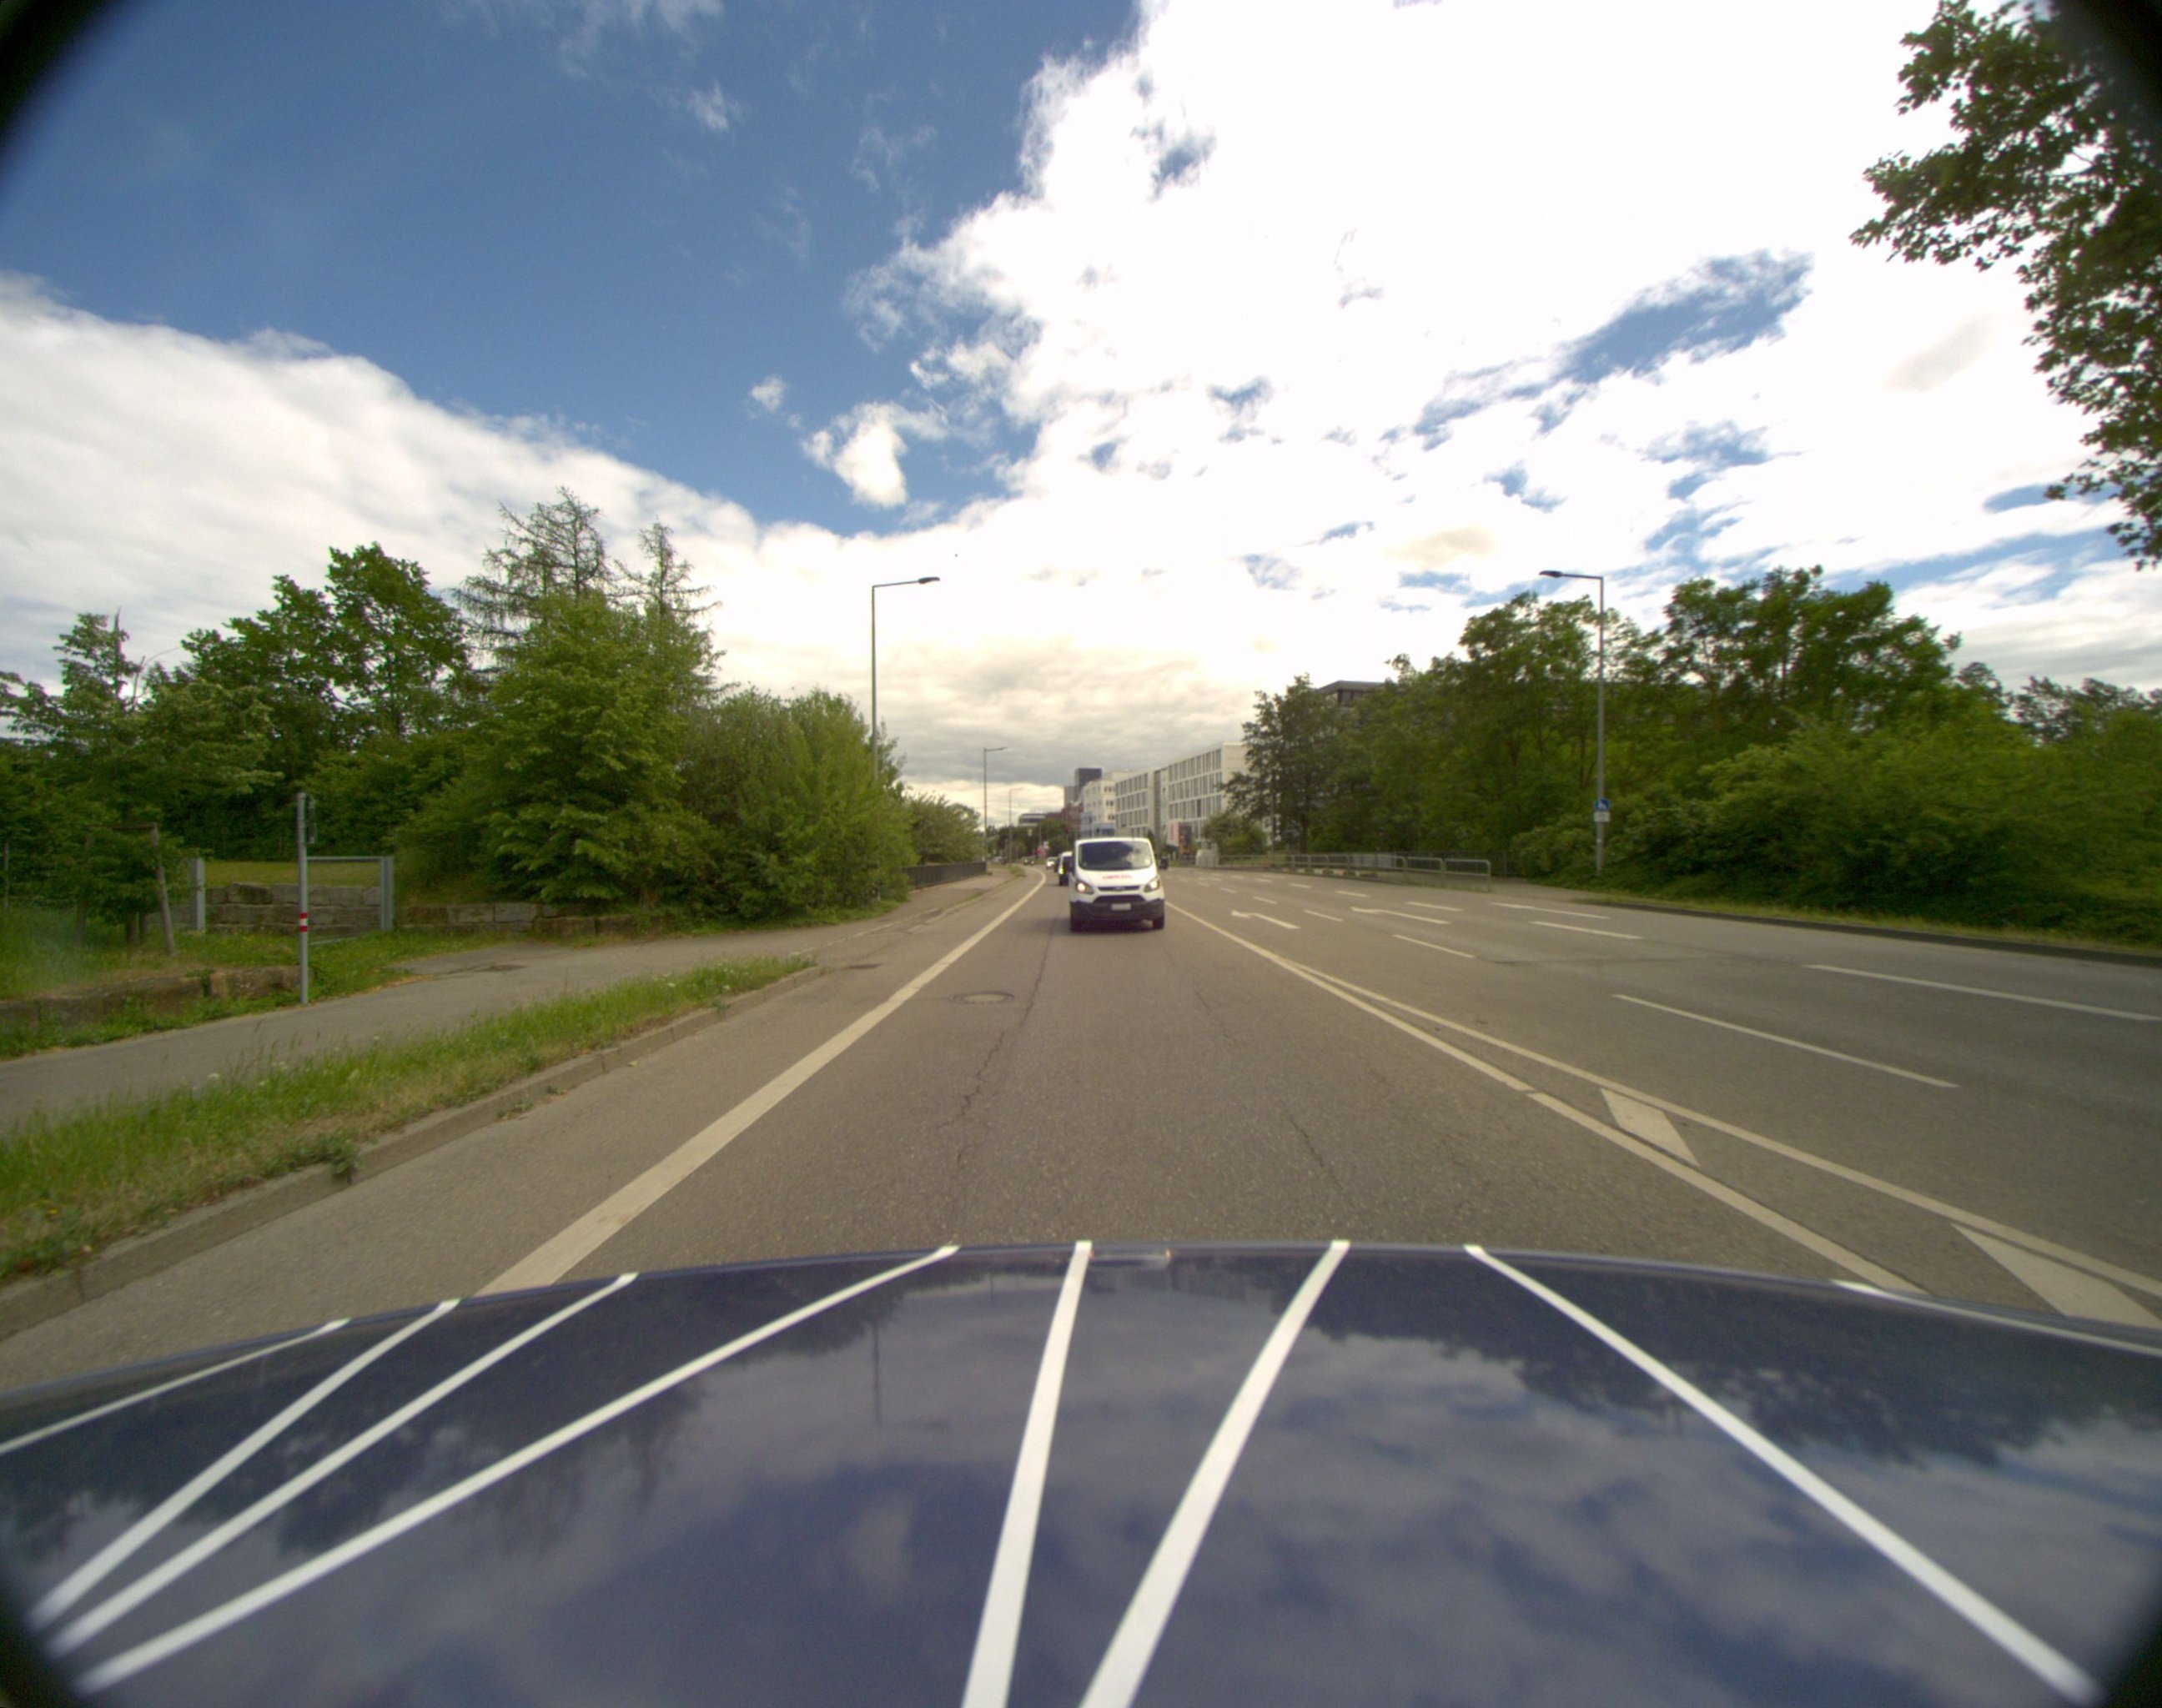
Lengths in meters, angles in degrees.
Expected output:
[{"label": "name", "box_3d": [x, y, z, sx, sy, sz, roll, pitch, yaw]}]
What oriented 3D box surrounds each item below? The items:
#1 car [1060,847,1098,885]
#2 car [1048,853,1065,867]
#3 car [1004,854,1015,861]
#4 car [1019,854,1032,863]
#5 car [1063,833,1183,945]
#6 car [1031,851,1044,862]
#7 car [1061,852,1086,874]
[{"label": "car", "box_3d": [-0.132, 0.607, 41.183, 1.872, 1.836, 4.370, -2, 0, -1]}, {"label": "car", "box_3d": [-3.128, 0.705, 96.174, 1.873, 1.685, 4.369, -2, 0, -4]}, {"label": "car", "box_3d": [-15.303, 0.732, 162.060, 1.737, 1.432, 4.363, -3, 0, -14]}, {"label": "car", "box_3d": [-10.416, 0.813, 143.053, 1.874, 1.685, 4.367, -2, 0, -11]}, {"label": "car", "box_3d": [0.789, 0.624, 17.065, 2.122, 1.963, 6.206, -2, 0, 0]}, {"label": "car", "box_3d": [-7.710, 0.431, 134.275, 1.874, 1.685, 4.367, -2, 0, -10]}, {"label": "car", "box_3d": [-0.658, 0.711, 63.722, 1.872, 1.685, 4.370, -2, 0, -2]}]
